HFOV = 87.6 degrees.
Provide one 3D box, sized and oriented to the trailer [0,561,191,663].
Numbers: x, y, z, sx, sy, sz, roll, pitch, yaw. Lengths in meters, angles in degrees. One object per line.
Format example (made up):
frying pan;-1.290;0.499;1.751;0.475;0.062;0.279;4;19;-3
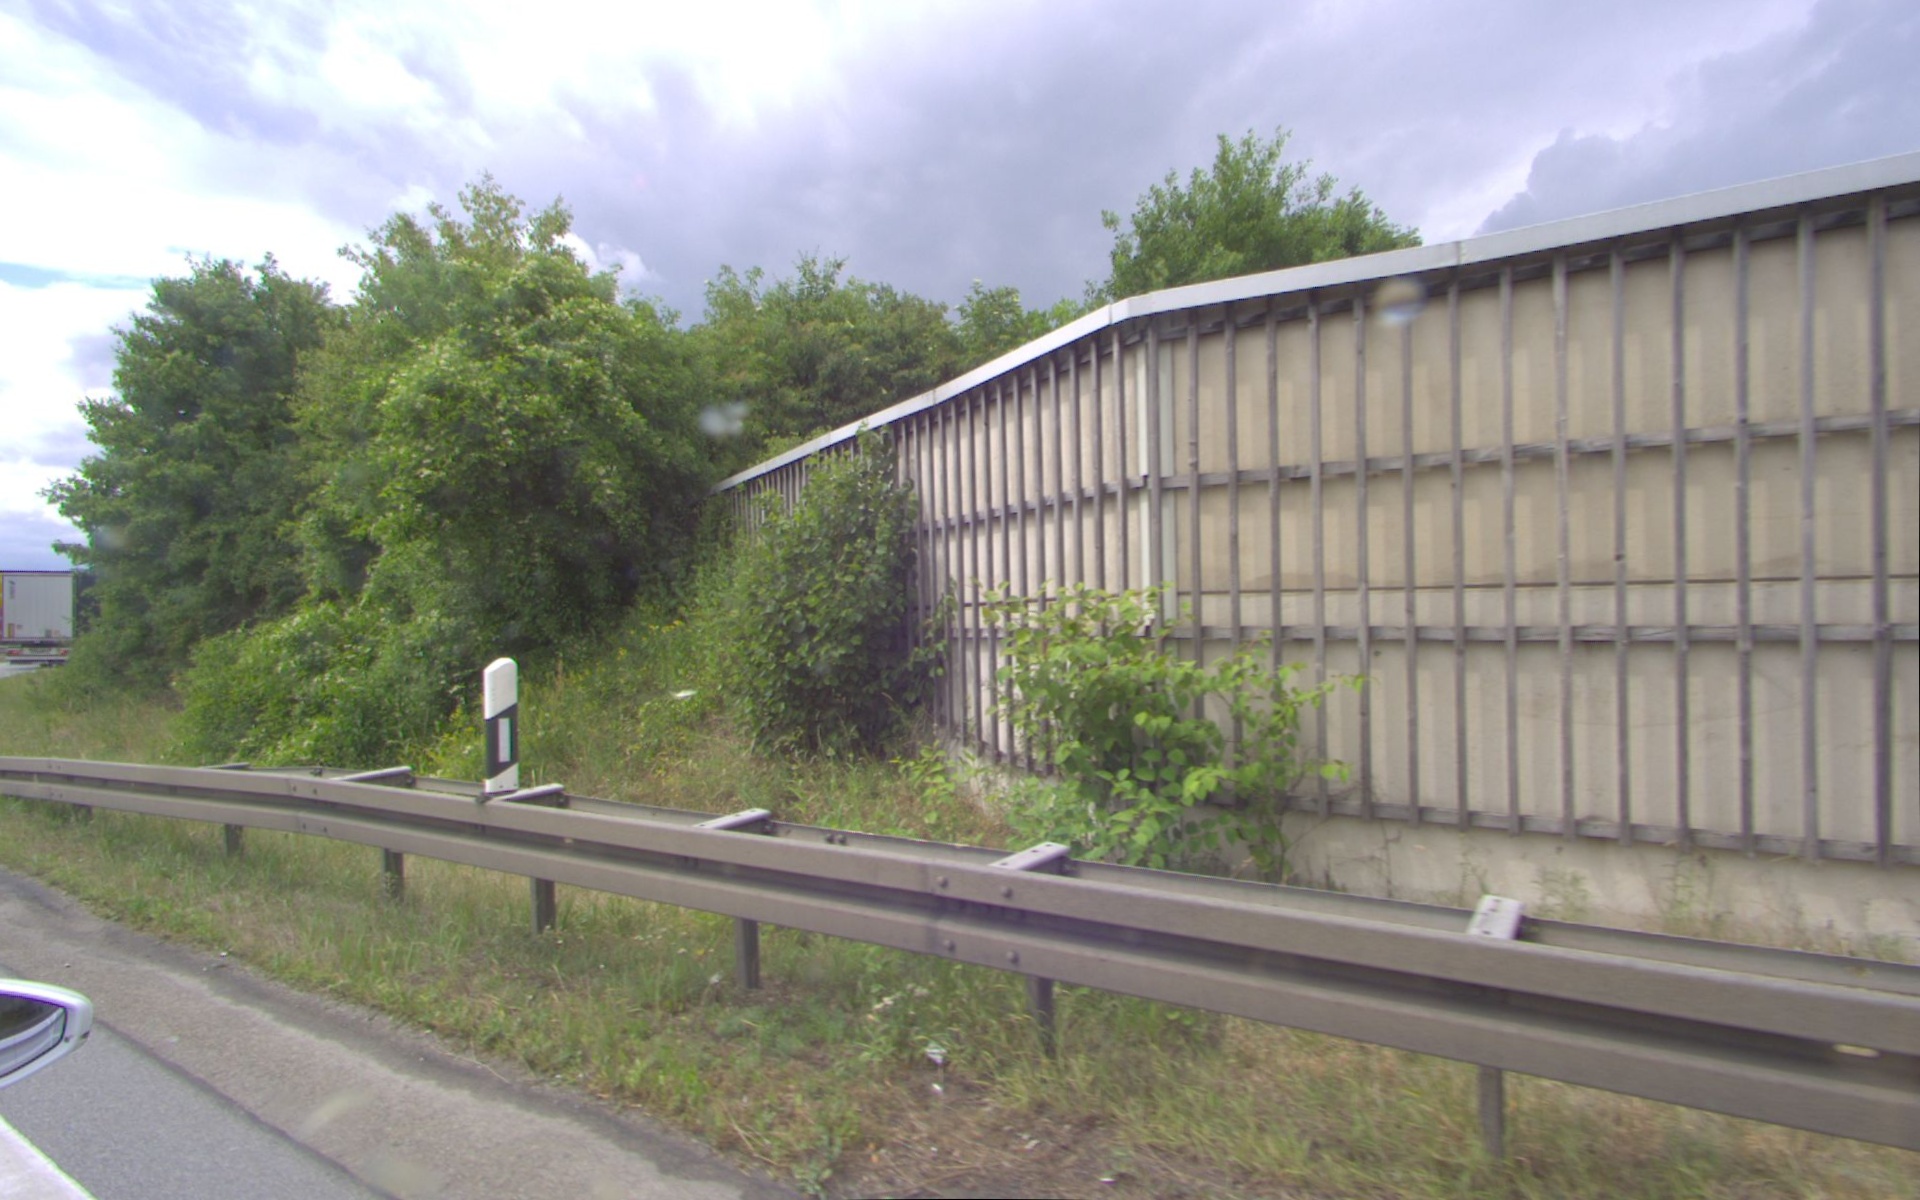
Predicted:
trailer;-41.098;0.665;48.154;3.287;4.247;12.993;0;-1;-23
